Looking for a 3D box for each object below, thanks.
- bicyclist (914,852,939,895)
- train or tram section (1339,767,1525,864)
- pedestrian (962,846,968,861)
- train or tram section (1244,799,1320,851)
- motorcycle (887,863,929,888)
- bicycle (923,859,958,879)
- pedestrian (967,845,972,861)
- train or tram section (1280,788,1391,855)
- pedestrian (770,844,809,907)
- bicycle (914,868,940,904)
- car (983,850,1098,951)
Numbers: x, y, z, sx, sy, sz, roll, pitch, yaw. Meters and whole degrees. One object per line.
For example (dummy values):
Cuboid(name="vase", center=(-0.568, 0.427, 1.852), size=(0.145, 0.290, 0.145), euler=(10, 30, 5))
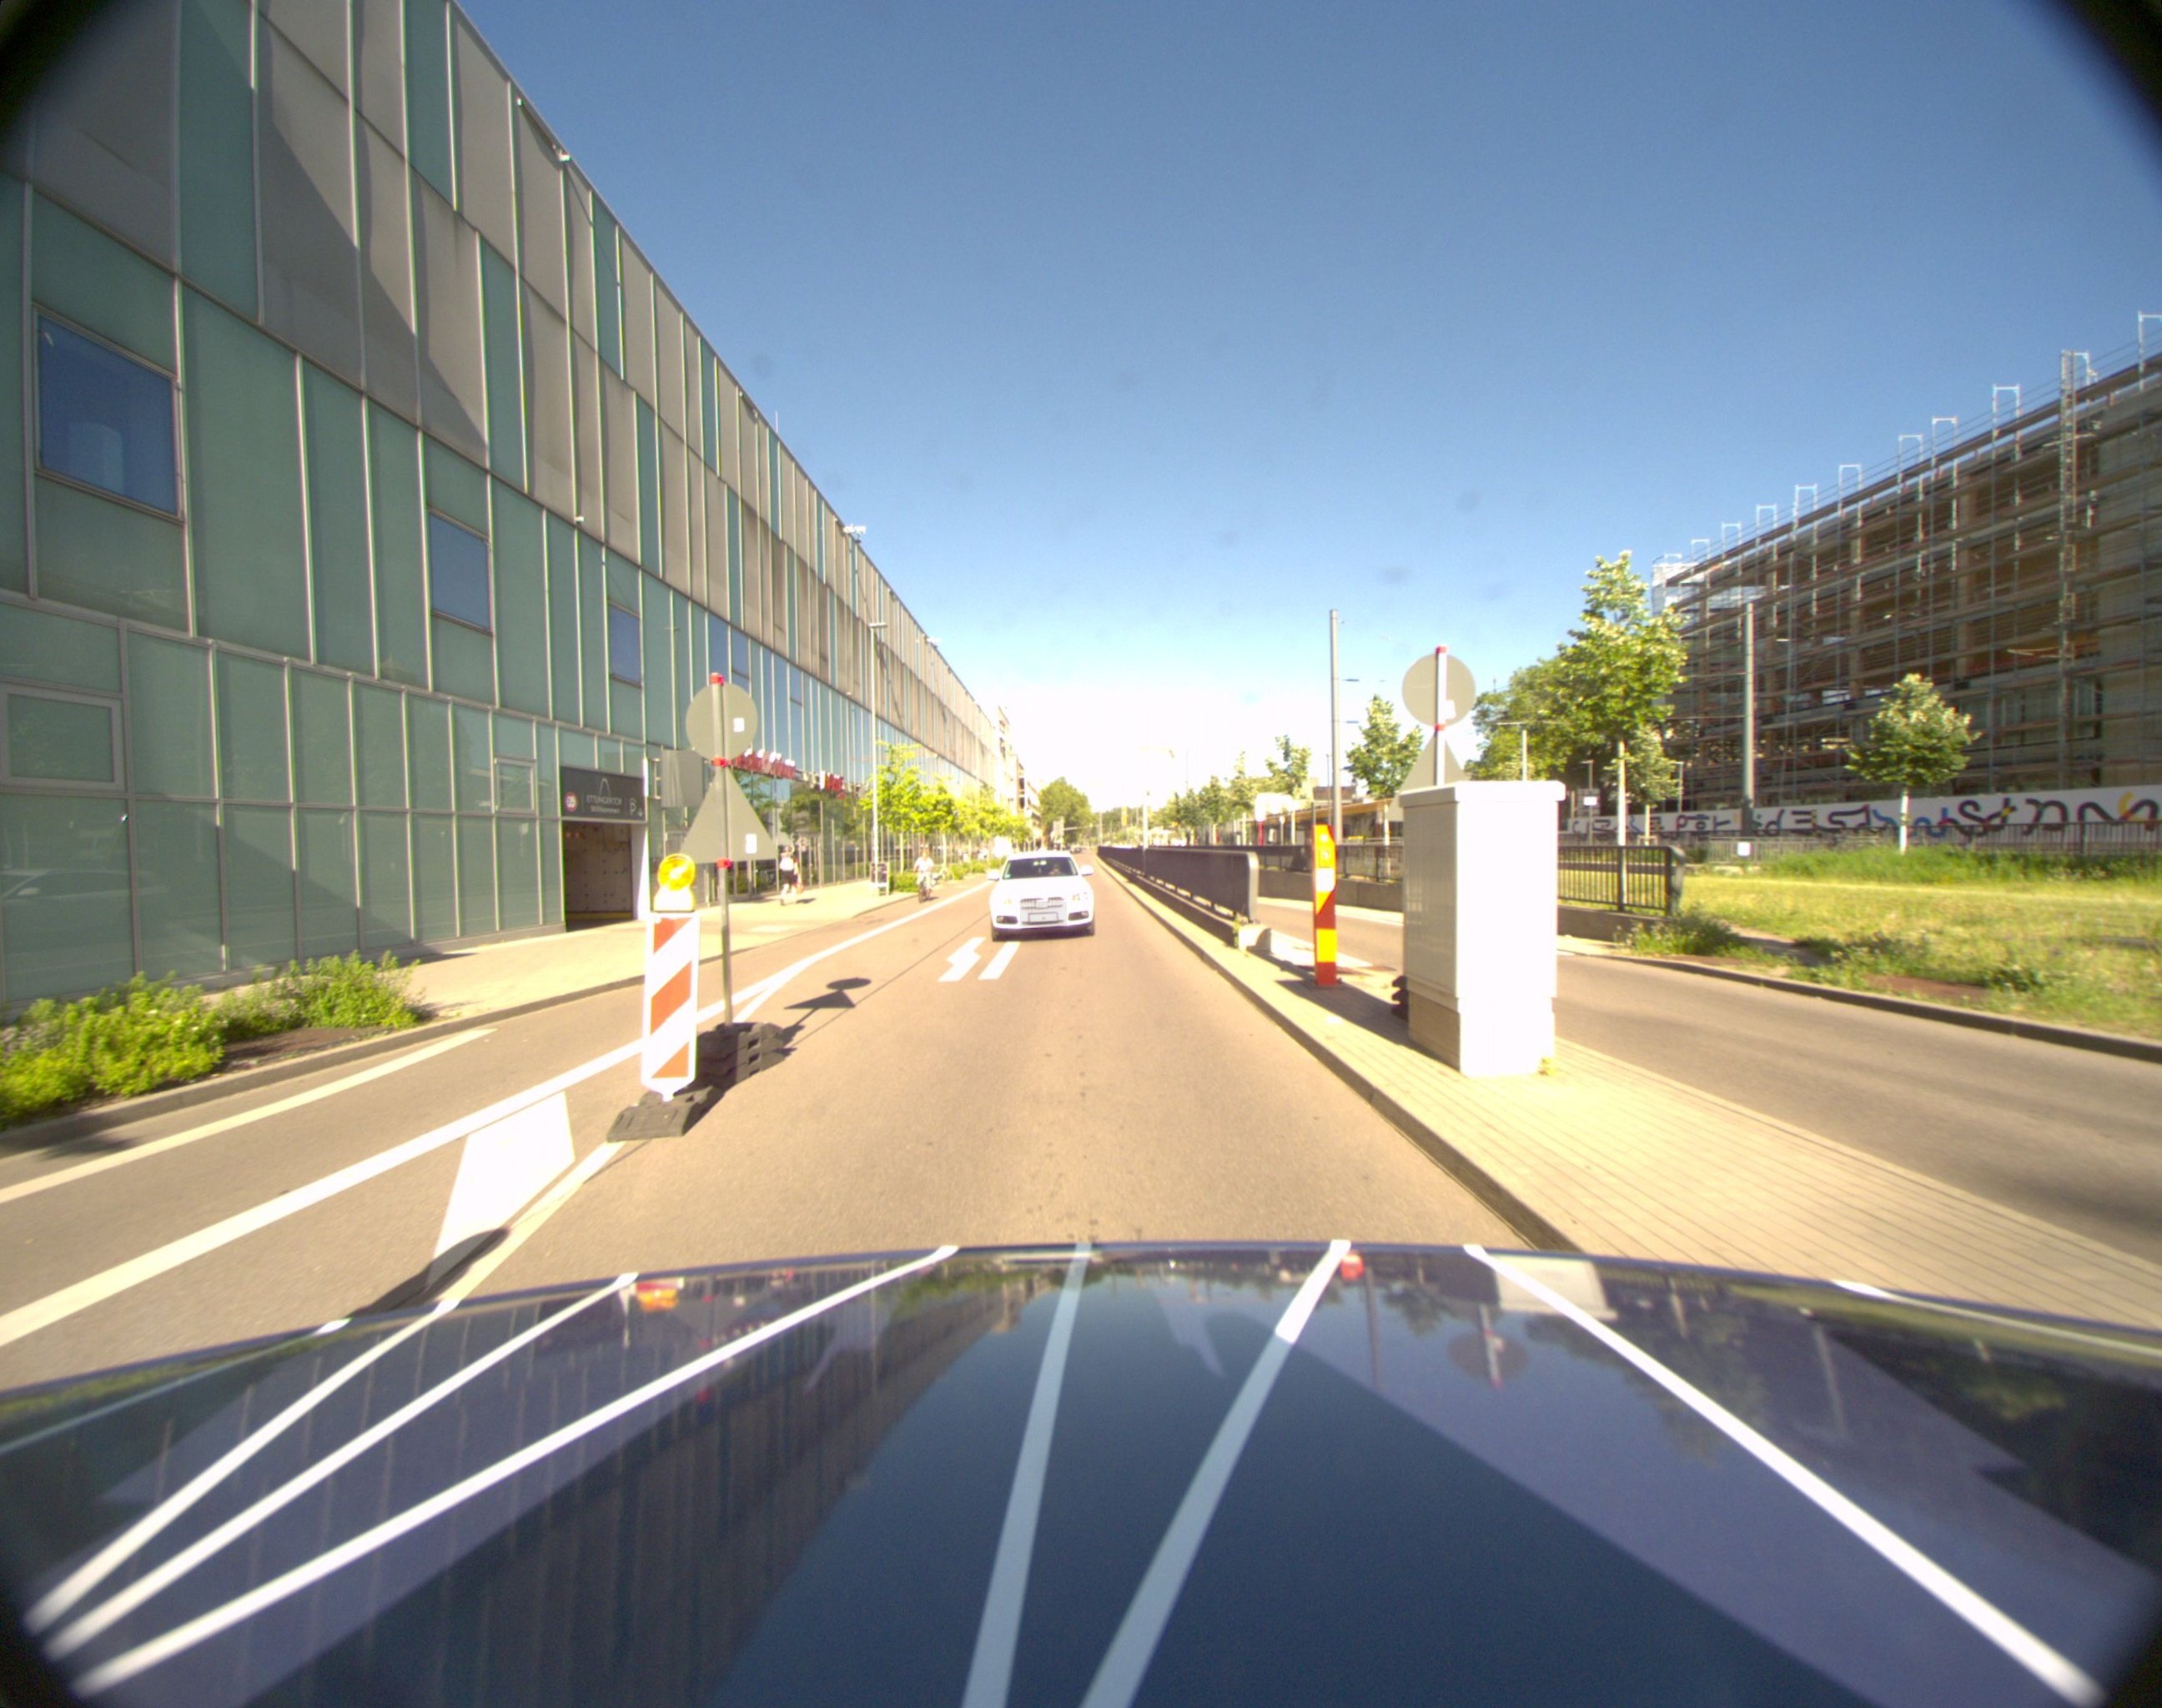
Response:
Cuboid(name="bicyclist", center=(-5.465, 0.677, 26.928), size=(0.755, 1.454, 0.587), euler=(-2, 2, -5))
Cuboid(name="train or tram section", center=(15.375, -1.602, 35.005), size=(2.822, 3.618, 12.786), euler=(-1, 1, 1))
Cuboid(name="pedestrian", center=(-12.086, -0.067, 79.135), size=(0.450, 1.591, 0.287), euler=(-2, 2, 0))
Cuboid(name="train or tram section", center=(15.681, -2.227, 60.570), size=(2.822, 3.618, 12.786), euler=(-1, 1, 1))
Cuboid(name="motorcycle", center=(-8.065, 1.007, 35.356), size=(1.876, 1.076, 0.645), euler=(1, 3, 24))
Cuboid(name="bicycle", center=(-7.462, 0.783, 40.364), size=(1.741, 1.056, 0.467), euler=(1, 1, -15))
Cuboid(name="pedestrian", center=(-11.627, -0.137, 79.410), size=(0.450, 1.681, 0.345), euler=(-2, 2, 0))
Cuboid(name="train or tram section", center=(15.561, -1.903, 47.799), size=(2.822, 3.618, 12.786), euler=(-1, 1, 1))
Cuboid(name="pedestrian", center=(-9.245, 0.674, 24.148), size=(0.877, 1.914, 0.895), euler=(1, 4, 0))
Cuboid(name="bicycle", center=(-5.447, 1.107, 26.920), size=(0.610, 1.144, 1.986), euler=(-3, 2, -5))
Cuboid(name="car", center=(-0.787, 0.789, 15.200), size=(1.934, 1.624, 3.998), euler=(-3, 1, -3))
